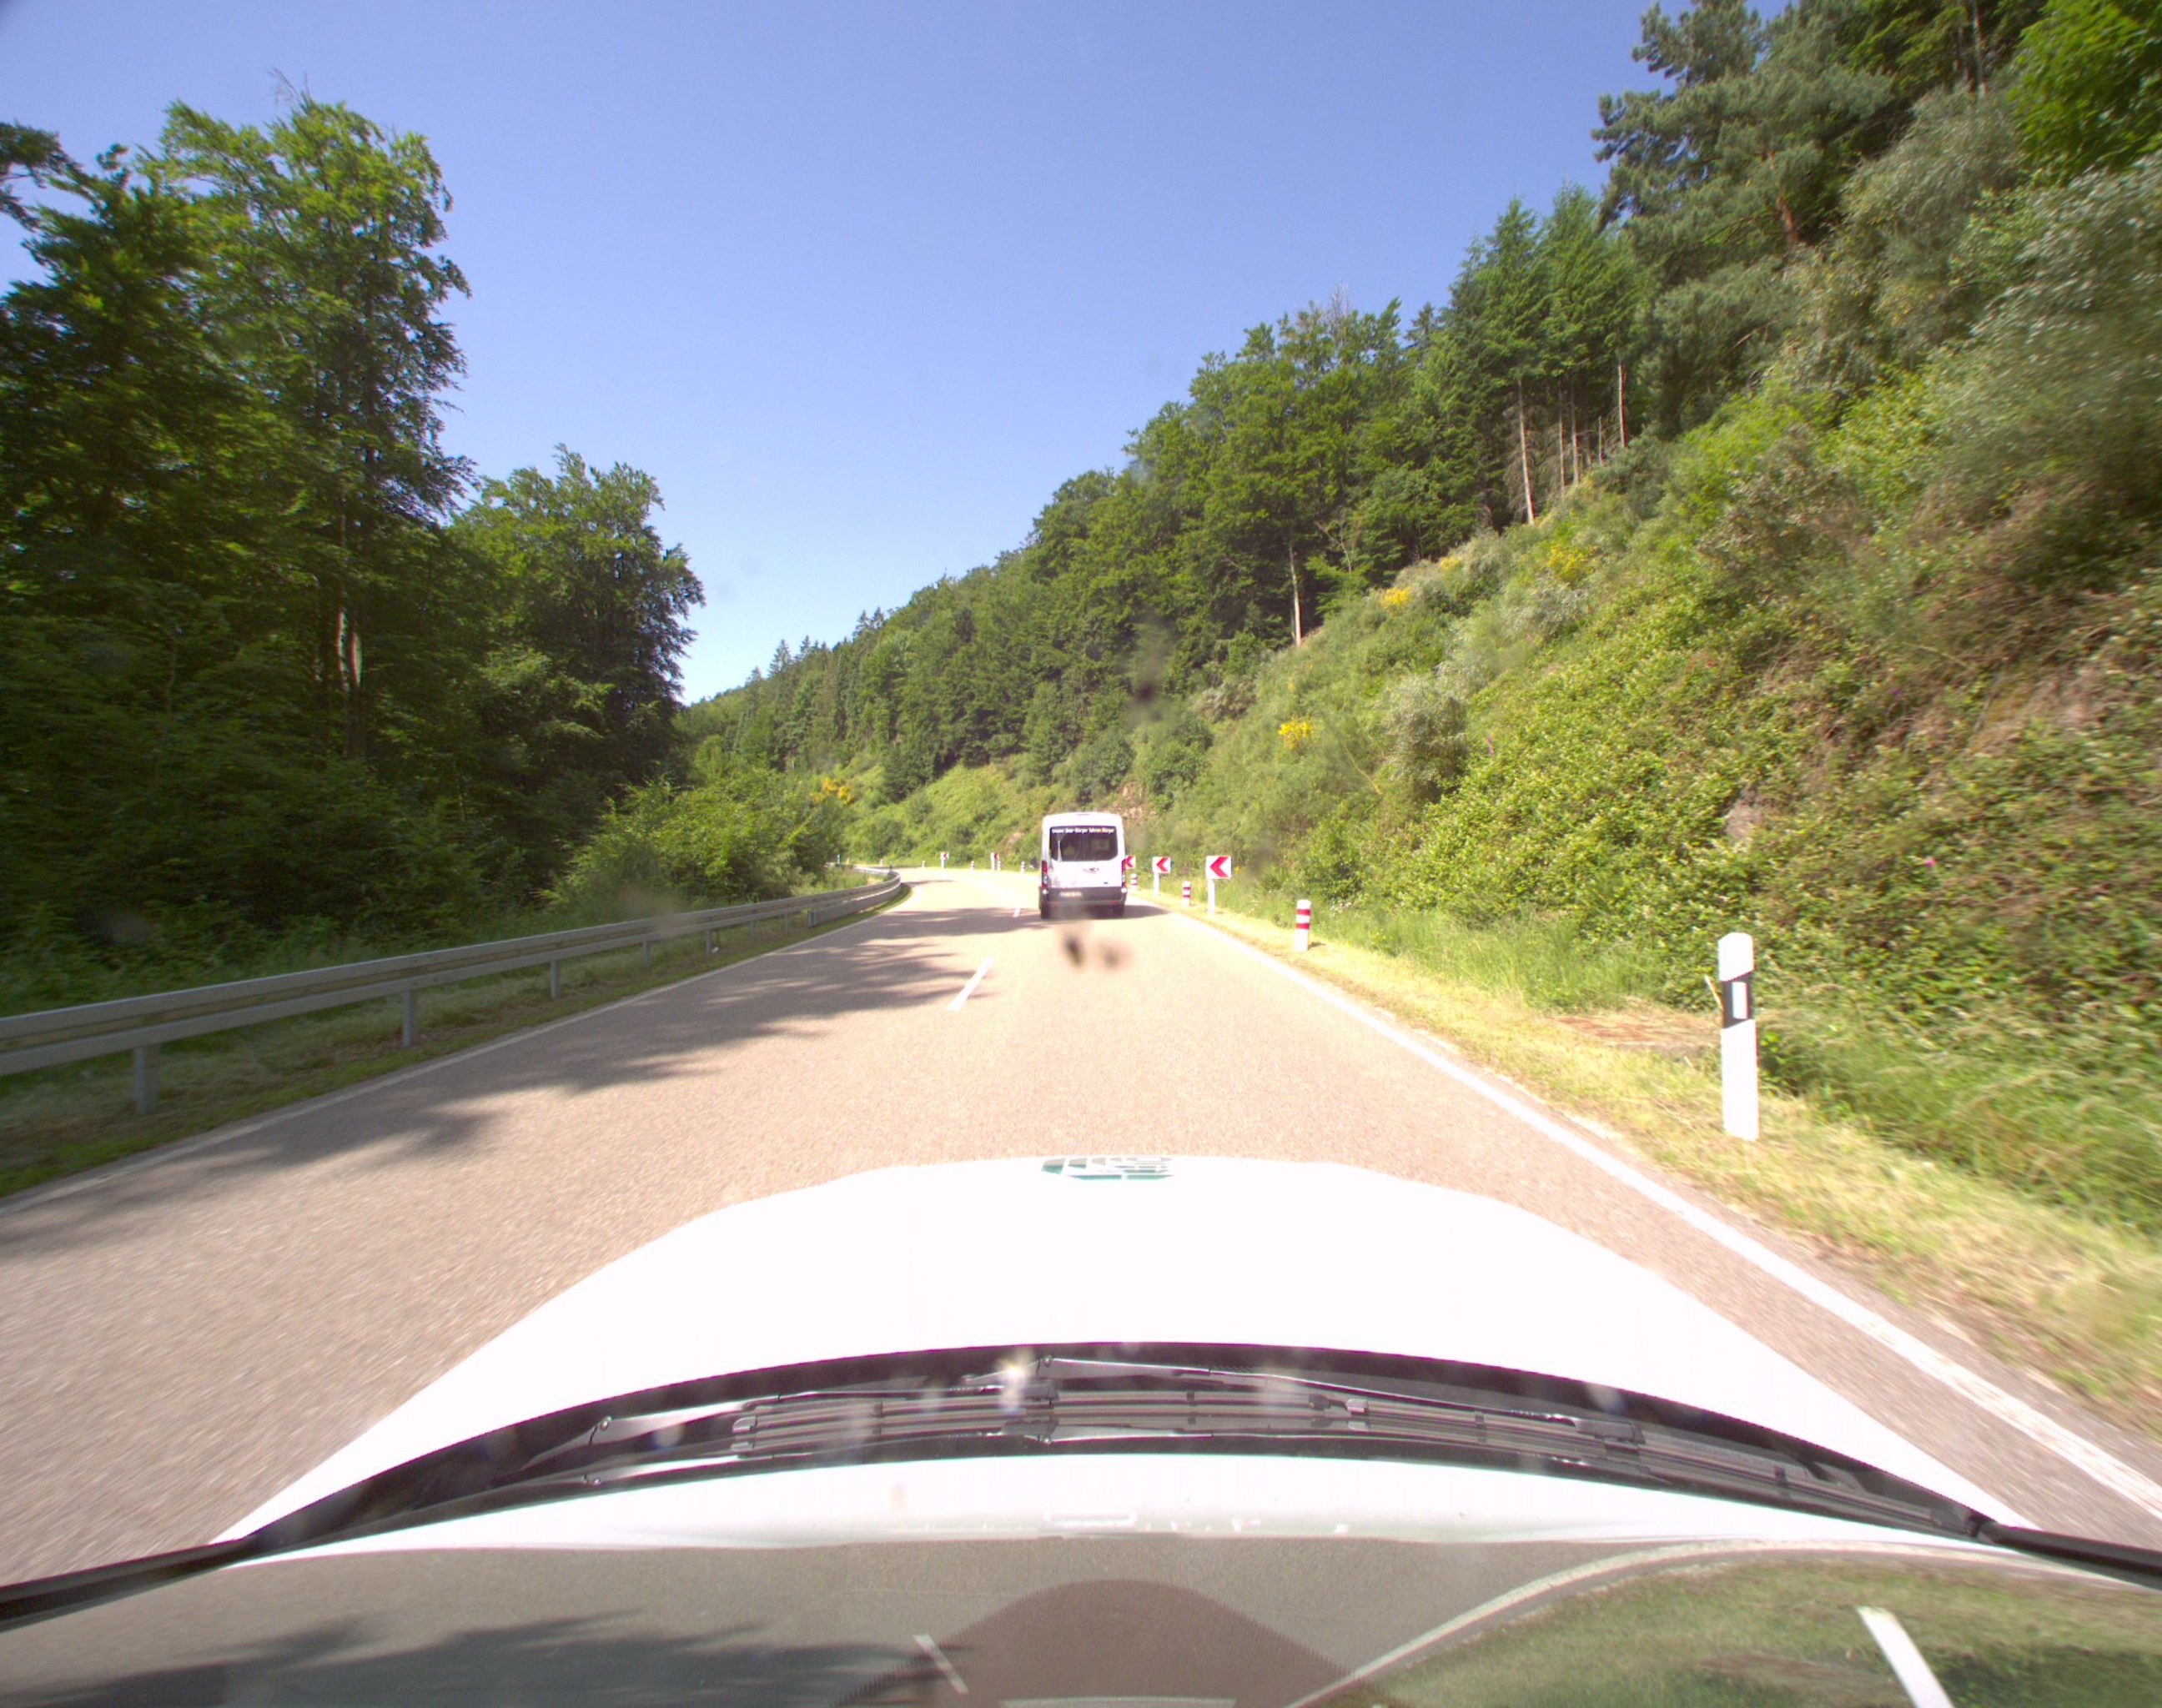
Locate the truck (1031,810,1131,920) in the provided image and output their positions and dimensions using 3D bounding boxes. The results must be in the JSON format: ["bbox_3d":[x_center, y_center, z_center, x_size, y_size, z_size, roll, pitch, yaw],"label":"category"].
[{"bbox_3d":[-0.136,0.250,20.863,2.080,2.459,4.865,-1,0,-6],"label":"truck"}]
